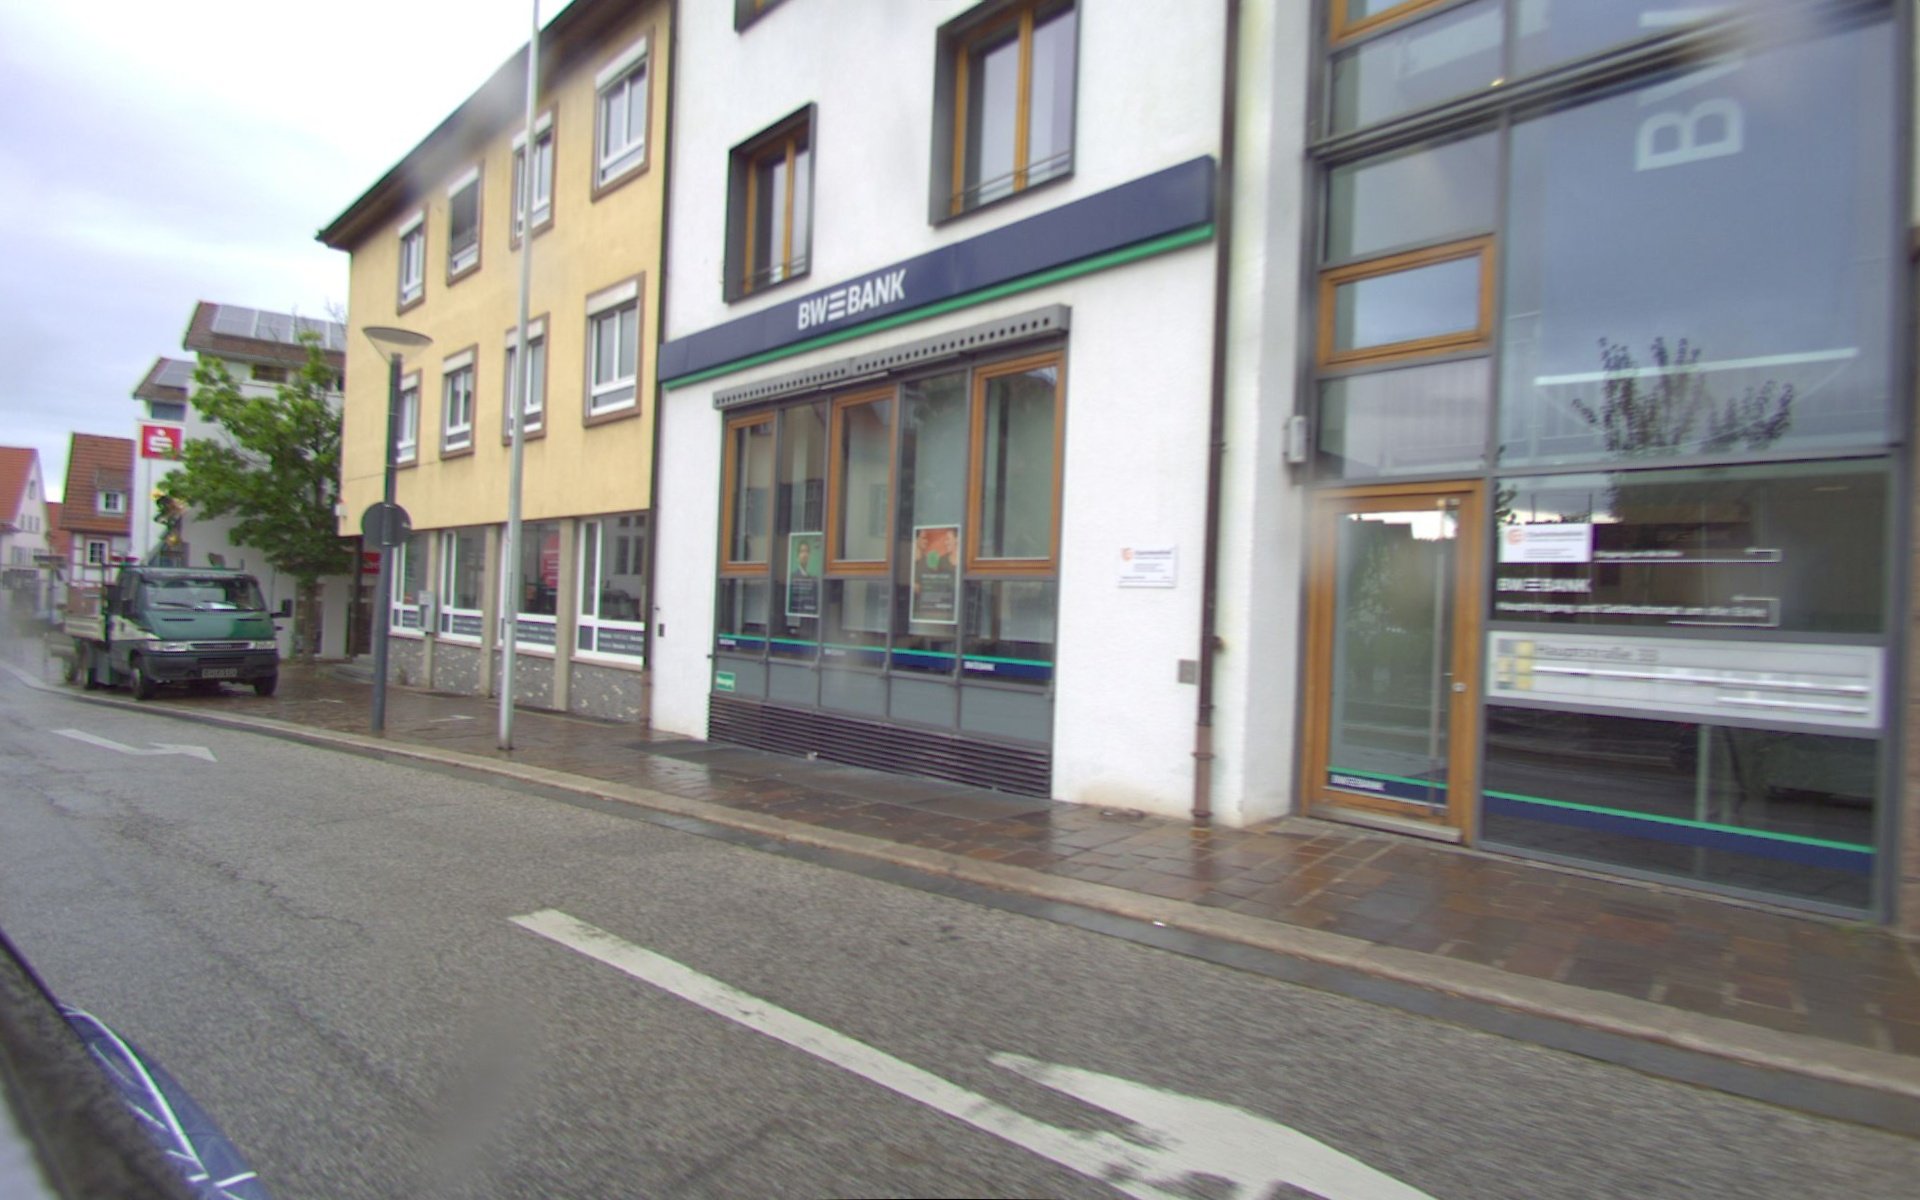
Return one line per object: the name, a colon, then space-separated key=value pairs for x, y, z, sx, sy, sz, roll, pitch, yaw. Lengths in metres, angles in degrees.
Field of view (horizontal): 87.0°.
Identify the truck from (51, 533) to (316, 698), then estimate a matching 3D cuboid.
truck: x=-14.700 y=0.404 z=18.992 sx=6.474 sy=2.615 sz=2.376 roll=-3 pitch=-4 yaw=38
